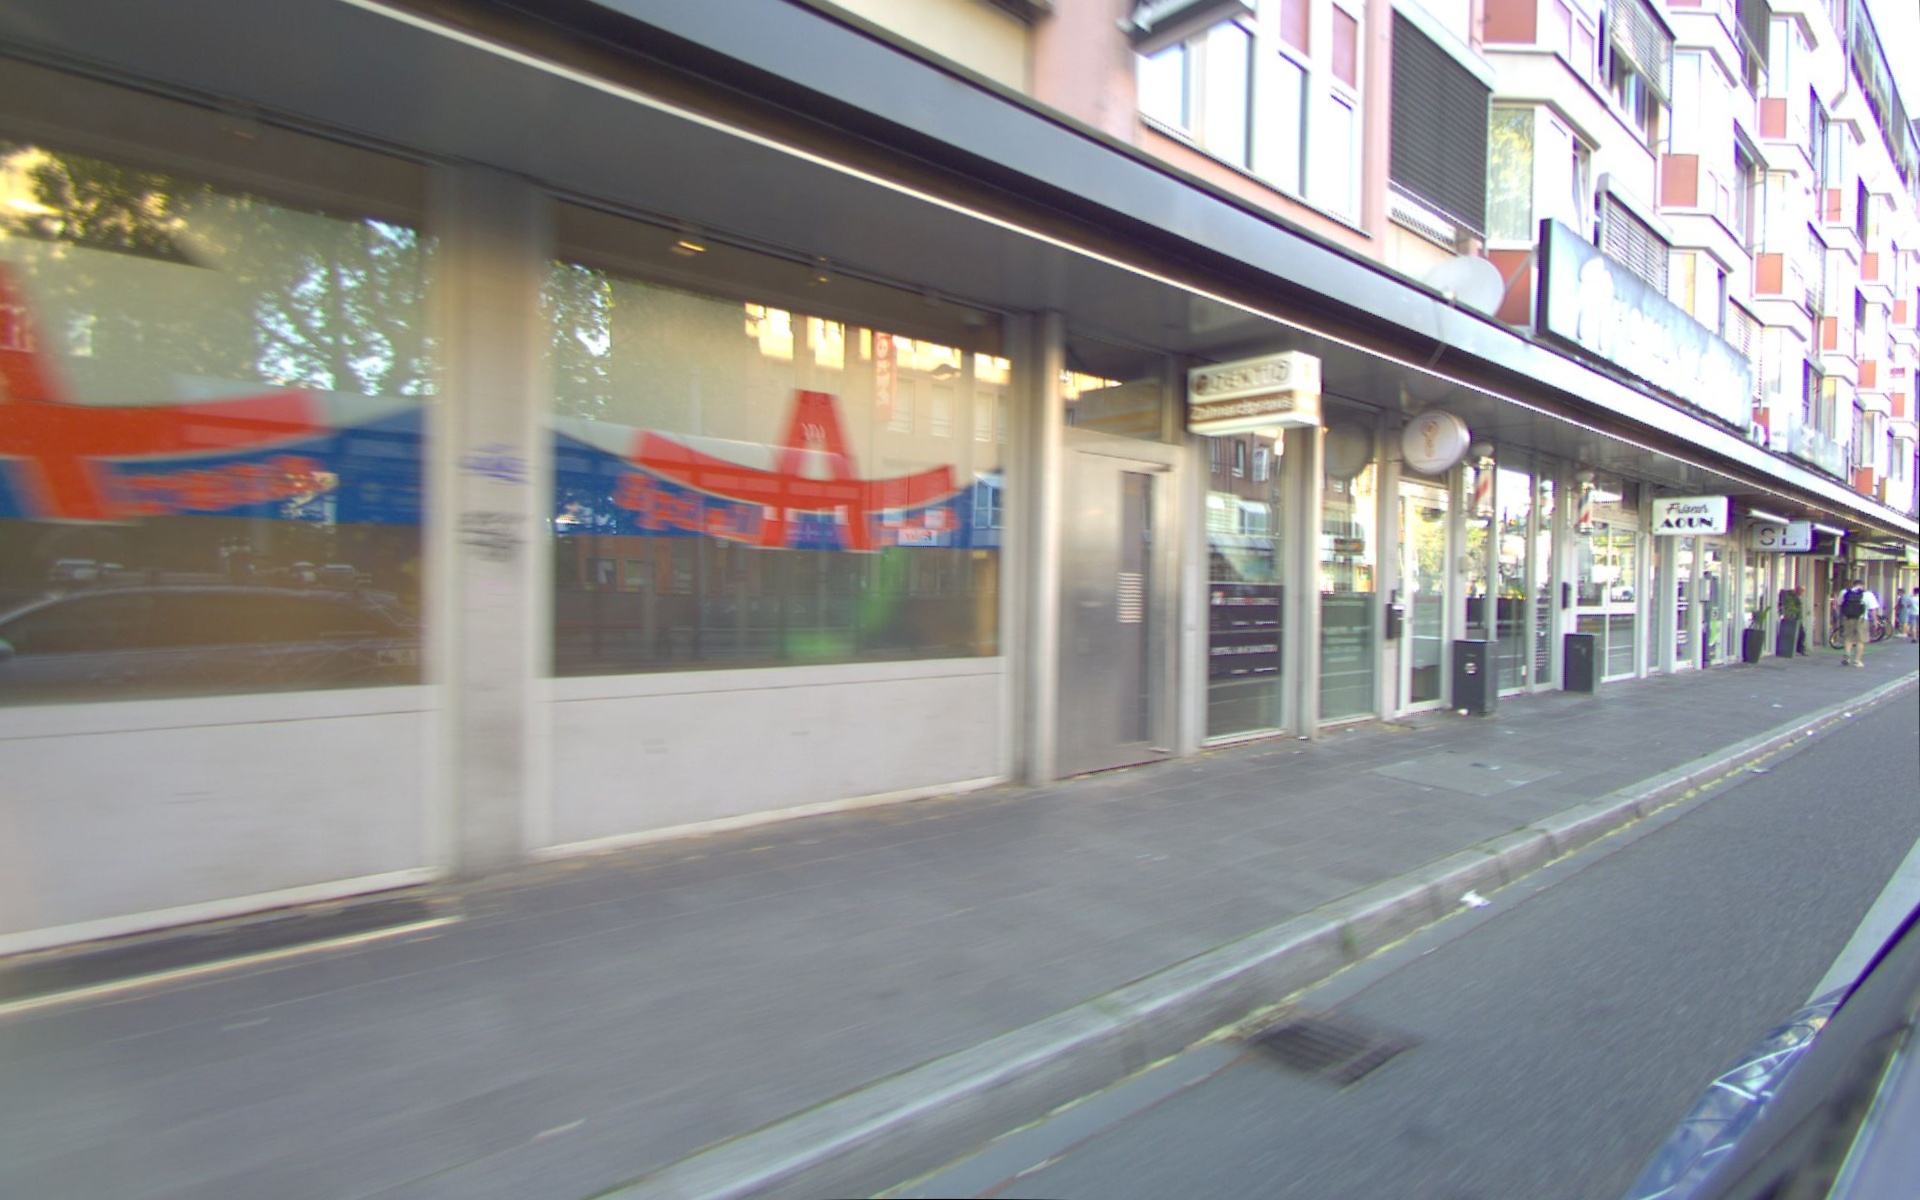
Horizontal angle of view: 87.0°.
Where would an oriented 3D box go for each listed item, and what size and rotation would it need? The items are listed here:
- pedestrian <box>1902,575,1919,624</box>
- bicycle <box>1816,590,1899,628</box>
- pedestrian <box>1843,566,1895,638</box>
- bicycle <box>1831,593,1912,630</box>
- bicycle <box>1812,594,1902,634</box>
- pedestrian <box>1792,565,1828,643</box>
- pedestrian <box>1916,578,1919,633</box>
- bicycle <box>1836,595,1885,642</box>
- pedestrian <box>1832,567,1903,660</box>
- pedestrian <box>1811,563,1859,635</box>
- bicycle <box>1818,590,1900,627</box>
[{"bbox_3d":[32.502,-0.024,34.395,0.451,1.614,0.409,2,3,-13],"label":"pedestrian"},{"bbox_3d":[28.668,0.272,32.345,0.567,1.073,1.926,0,3,-43],"label":"bicycle"},{"bbox_3d":[24.587,0.031,27.371,0.766,1.889,0.915,-1,3,-44],"label":"pedestrian"},{"bbox_3d":[27.709,0.341,30.792,0.496,0.985,1.737,0,4,-36],"label":"bicycle"},{"bbox_3d":[26.597,0.394,30.035,0.566,1.073,1.928,0,3,-41],"label":"bicycle"},{"bbox_3d":[18.736,0.078,22.313,0.540,1.694,0.462,2,2,40],"label":"pedestrian"},{"bbox_3d":[29.749,0.176,30.949,0.758,1.694,0.633,-1,2,-41],"label":"pedestrian"},{"bbox_3d":[22.815,0.448,25.623,1.764,1.079,0.659,-1,6,-42],"label":"bicycle"},{"bbox_3d":[17.893,0.247,19.947,1.042,1.743,0.800,-1,4,-40],"label":"pedestrian"},{"bbox_3d":[23.554,-0.040,27.259,0.773,1.889,0.680,2,3,29],"label":"pedestrian"},{"bbox_3d":[29.124,0.266,32.809,0.567,1.073,1.926,0,3,-43],"label":"bicycle"}]
